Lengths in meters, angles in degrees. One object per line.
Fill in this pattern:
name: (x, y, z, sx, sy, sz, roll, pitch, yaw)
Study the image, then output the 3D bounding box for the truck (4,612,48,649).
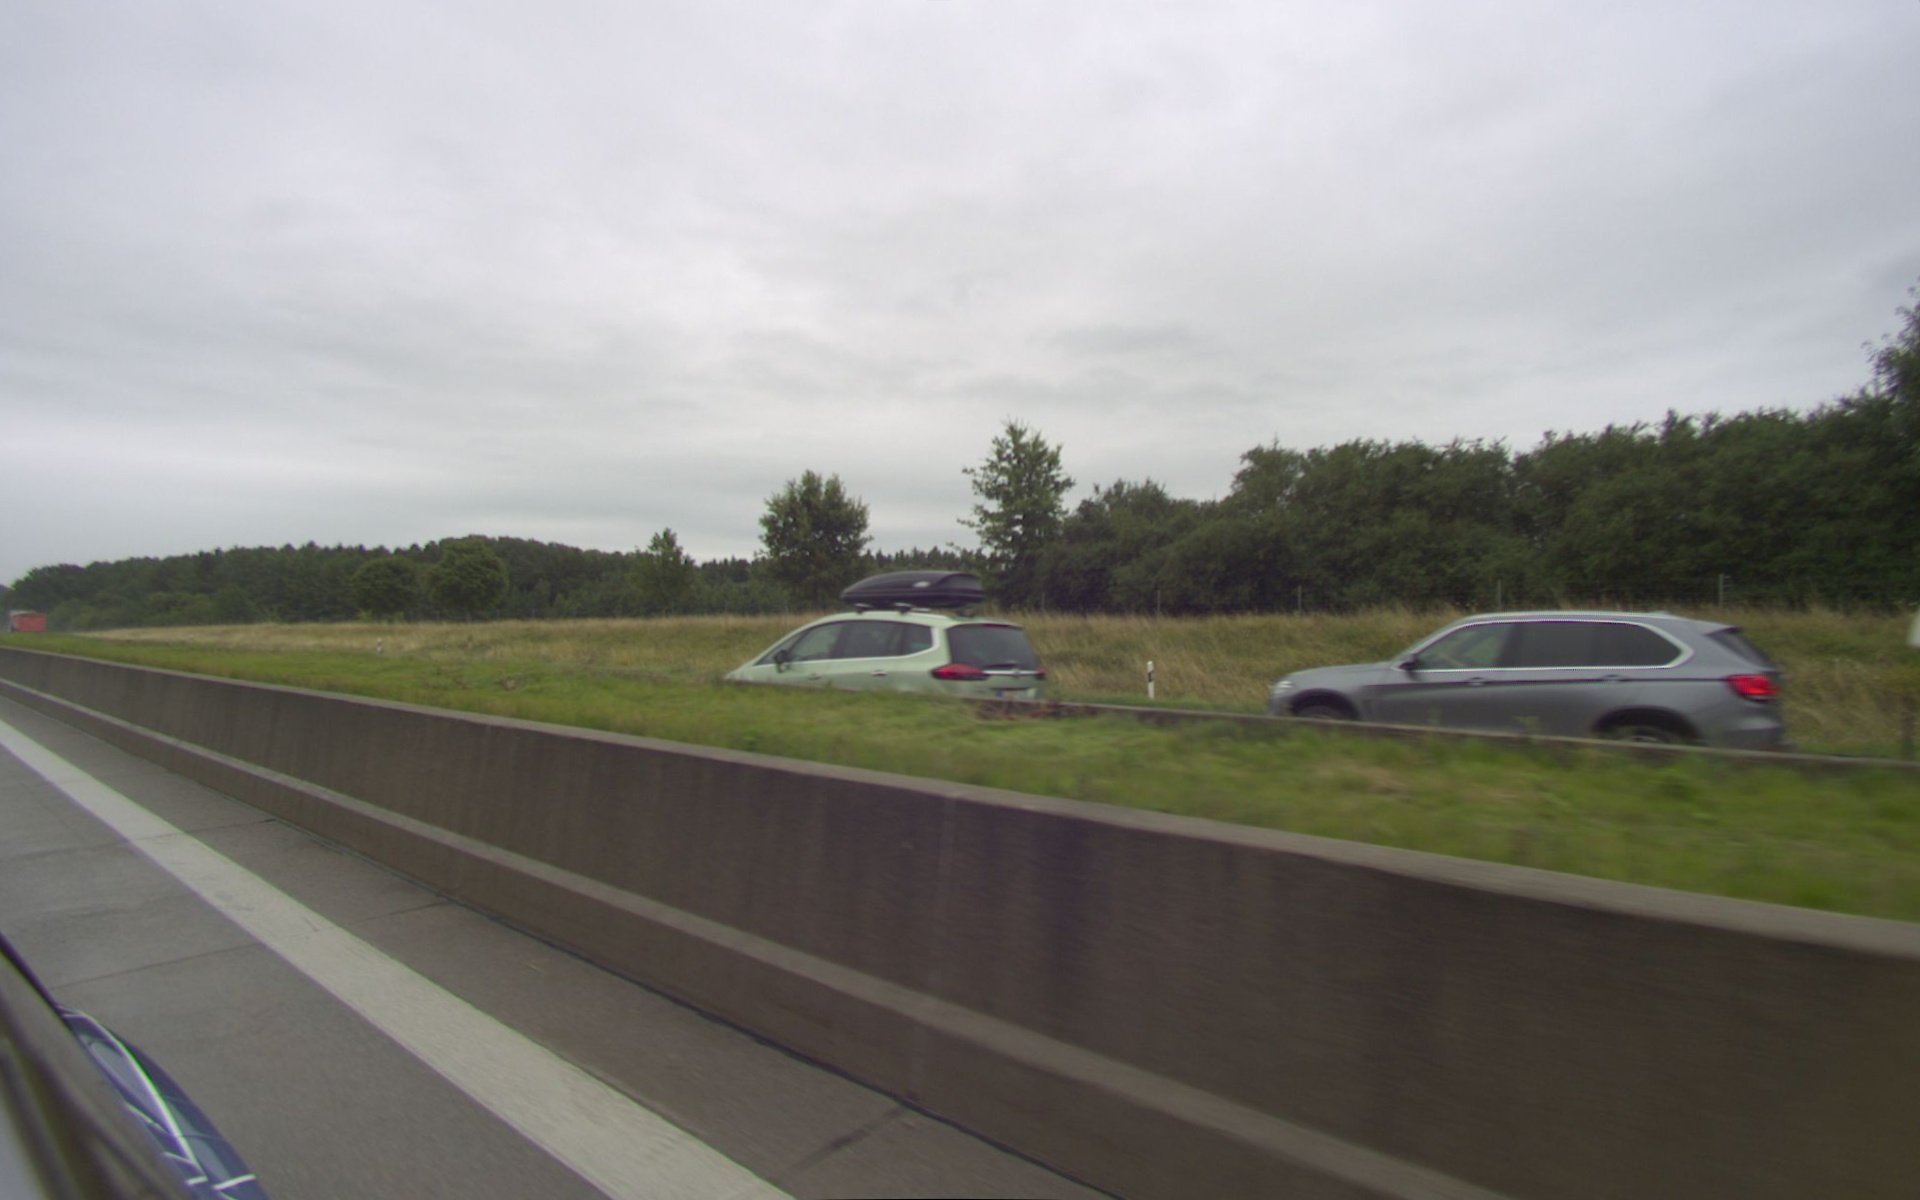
truck: (-115.747, 3.751, 125.380, 13.100, 4.238, 2.725, 0, -2, 42)

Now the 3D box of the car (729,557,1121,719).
car: (-0.547, 0.407, 11.428, 4.446, 1.480, 1.737, -1, -2, 41)

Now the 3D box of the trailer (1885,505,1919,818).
trailer: (10.112, 0.444, 6.651, 5.831, 2.391, 2.017, -1, -2, 41)

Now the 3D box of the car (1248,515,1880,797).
car: (5.827, 0.496, 10.359, 5.204, 2.197, 1.973, -1, -2, 41)
